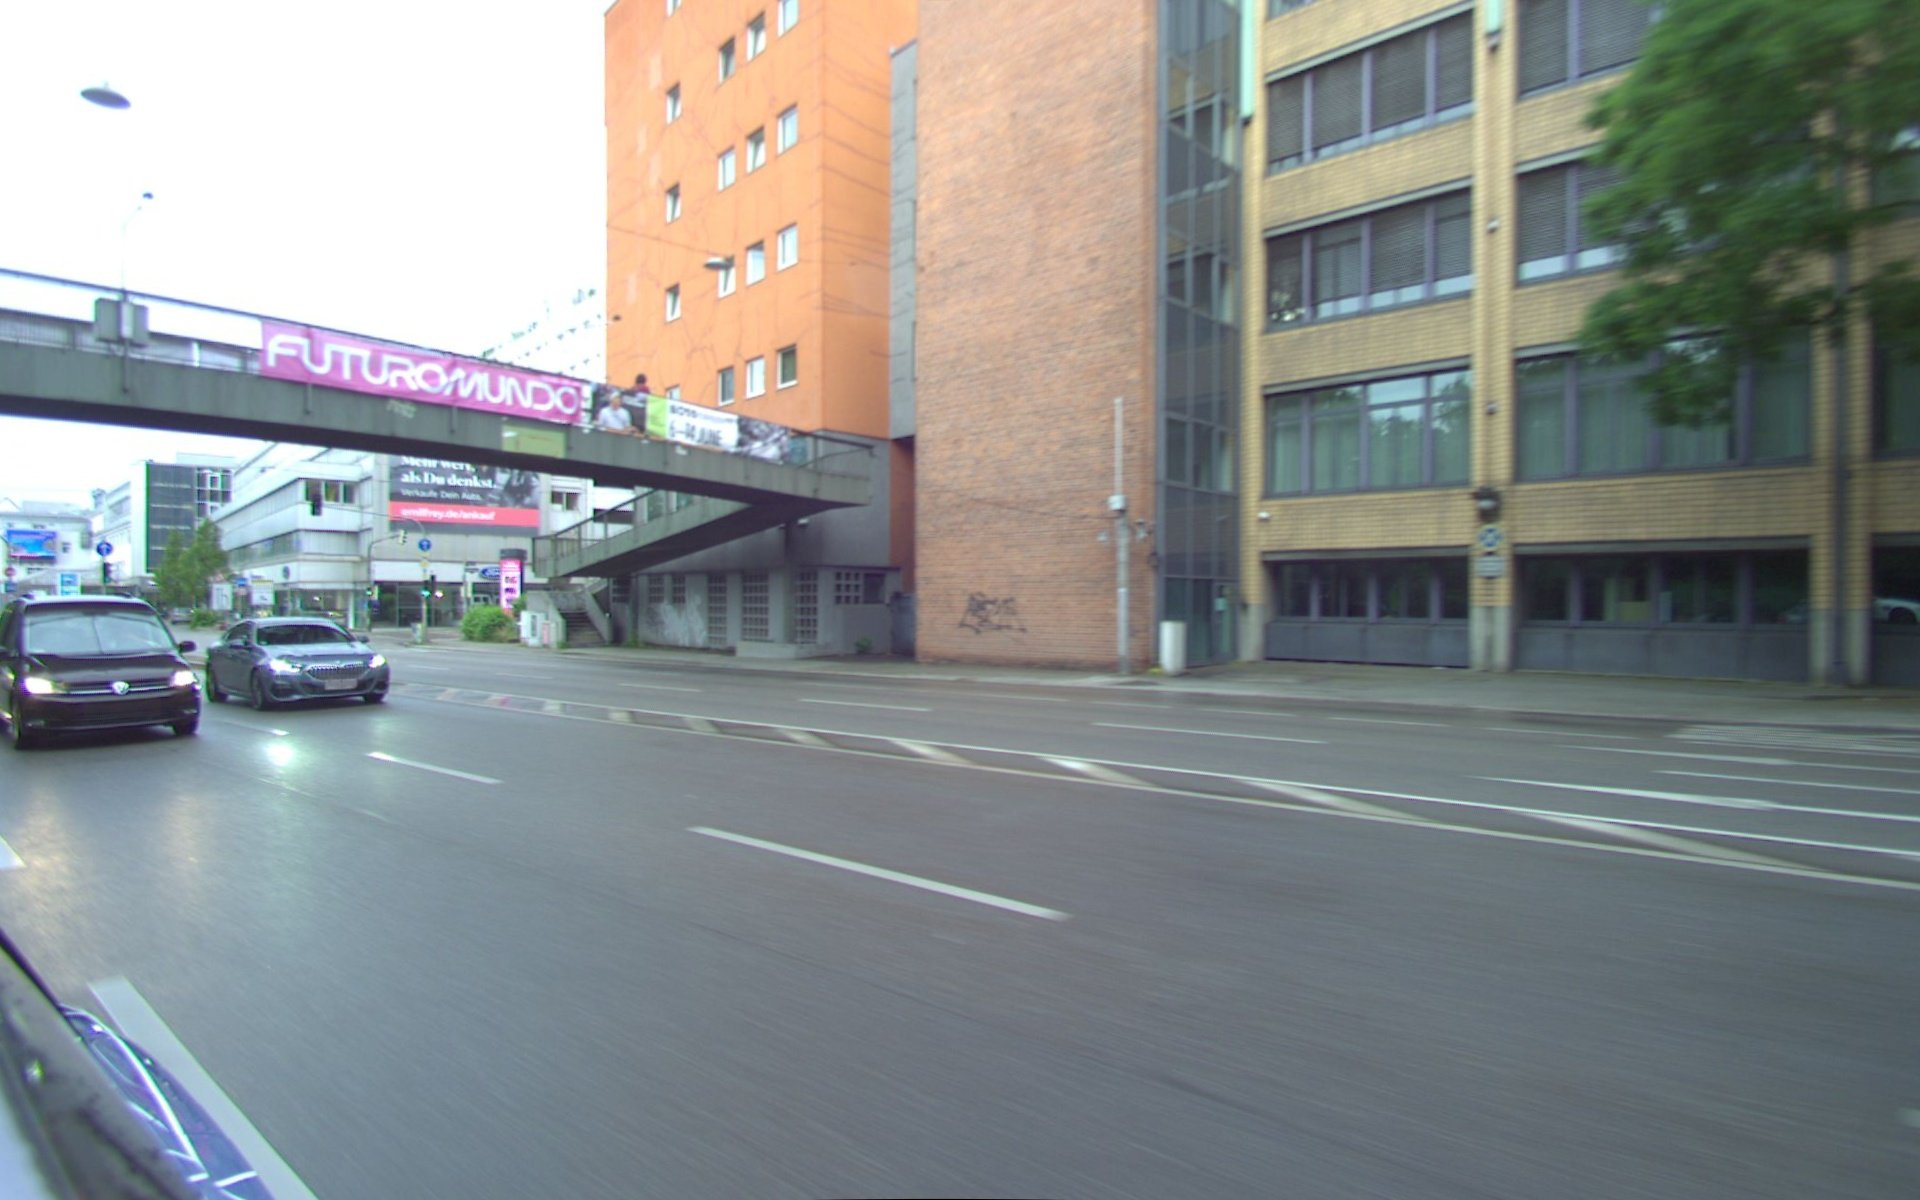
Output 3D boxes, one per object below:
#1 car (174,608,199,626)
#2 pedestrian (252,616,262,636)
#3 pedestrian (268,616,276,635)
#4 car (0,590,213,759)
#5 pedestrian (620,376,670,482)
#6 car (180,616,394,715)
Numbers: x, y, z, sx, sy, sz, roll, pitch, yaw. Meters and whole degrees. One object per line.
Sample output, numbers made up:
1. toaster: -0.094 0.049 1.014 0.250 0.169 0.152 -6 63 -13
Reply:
1. car: -81.739 1.813 106.962 1.857 1.881 4.006 -1 0 -40
2. pedestrian: -56.295 2.072 81.018 0.567 1.542 0.454 -1 0 -44
3. pedestrian: -55.524 2.070 81.635 0.431 1.542 0.514 -1 0 -44
4. car: -11.222 0.841 12.938 3.997 1.804 1.819 -2 0 41
5. pedestrian: -7.369 -3.979 23.703 0.737 2.272 0.823 0 -2 35
6. car: -11.392 1.074 17.016 4.533 1.426 1.649 -3 -1 38
